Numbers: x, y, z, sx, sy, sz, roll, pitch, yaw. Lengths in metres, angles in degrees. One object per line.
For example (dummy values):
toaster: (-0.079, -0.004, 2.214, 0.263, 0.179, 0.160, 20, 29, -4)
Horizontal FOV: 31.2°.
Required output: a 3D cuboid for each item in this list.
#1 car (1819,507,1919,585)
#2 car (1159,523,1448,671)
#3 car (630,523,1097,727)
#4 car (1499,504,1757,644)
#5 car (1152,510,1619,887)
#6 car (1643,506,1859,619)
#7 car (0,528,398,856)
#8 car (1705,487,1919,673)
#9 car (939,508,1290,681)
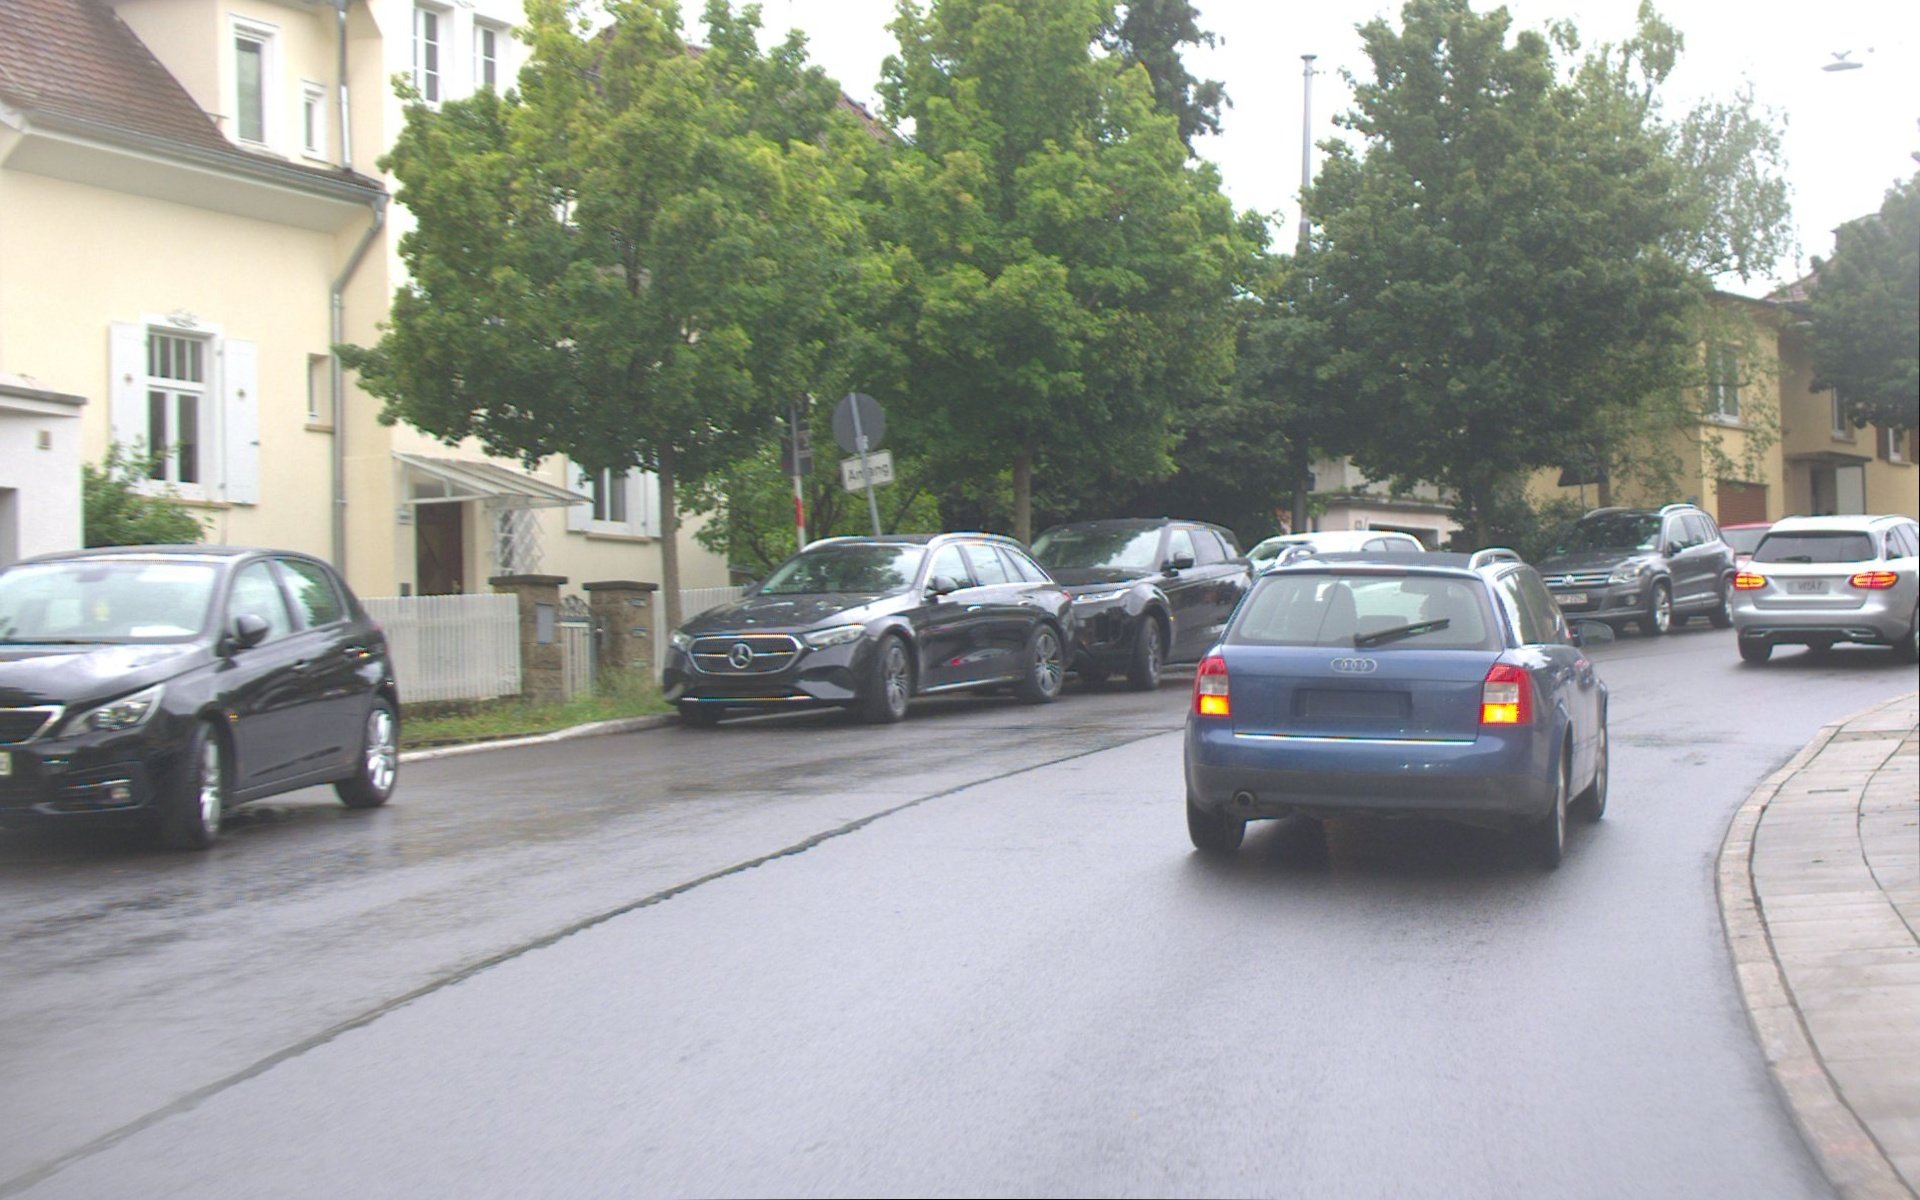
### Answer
car: (21.599, -1.265, 77.102, 4.061, 1.640, 1.859, -2, 0, 38)
car: (3.792, -0.061, 37.369, 1.736, 1.461, 3.994, -1, 2, 28)
car: (-0.676, 0.148, 28.516, 1.869, 1.540, 4.898, -1, 1, 25)
car: (8.826, -0.374, 45.150, 1.804, 1.663, 4.418, -3, 0, 32)
car: (2.211, 0.392, 16.918, 1.734, 1.461, 3.998, -1, 3, 15)
car: (11.373, -0.552, 49.275, 1.685, 1.467, 3.858, -3, 0, 34)
car: (-4.263, 0.396, 17.465, 1.670, 1.461, 3.894, -2, 1, 8)
car: (9.192, -0.256, 35.123, 1.978, 1.629, 4.229, -1, 4, 28)
car: (1.557, -0.087, 32.993, 1.736, 1.540, 4.204, -1, 1, 28)
